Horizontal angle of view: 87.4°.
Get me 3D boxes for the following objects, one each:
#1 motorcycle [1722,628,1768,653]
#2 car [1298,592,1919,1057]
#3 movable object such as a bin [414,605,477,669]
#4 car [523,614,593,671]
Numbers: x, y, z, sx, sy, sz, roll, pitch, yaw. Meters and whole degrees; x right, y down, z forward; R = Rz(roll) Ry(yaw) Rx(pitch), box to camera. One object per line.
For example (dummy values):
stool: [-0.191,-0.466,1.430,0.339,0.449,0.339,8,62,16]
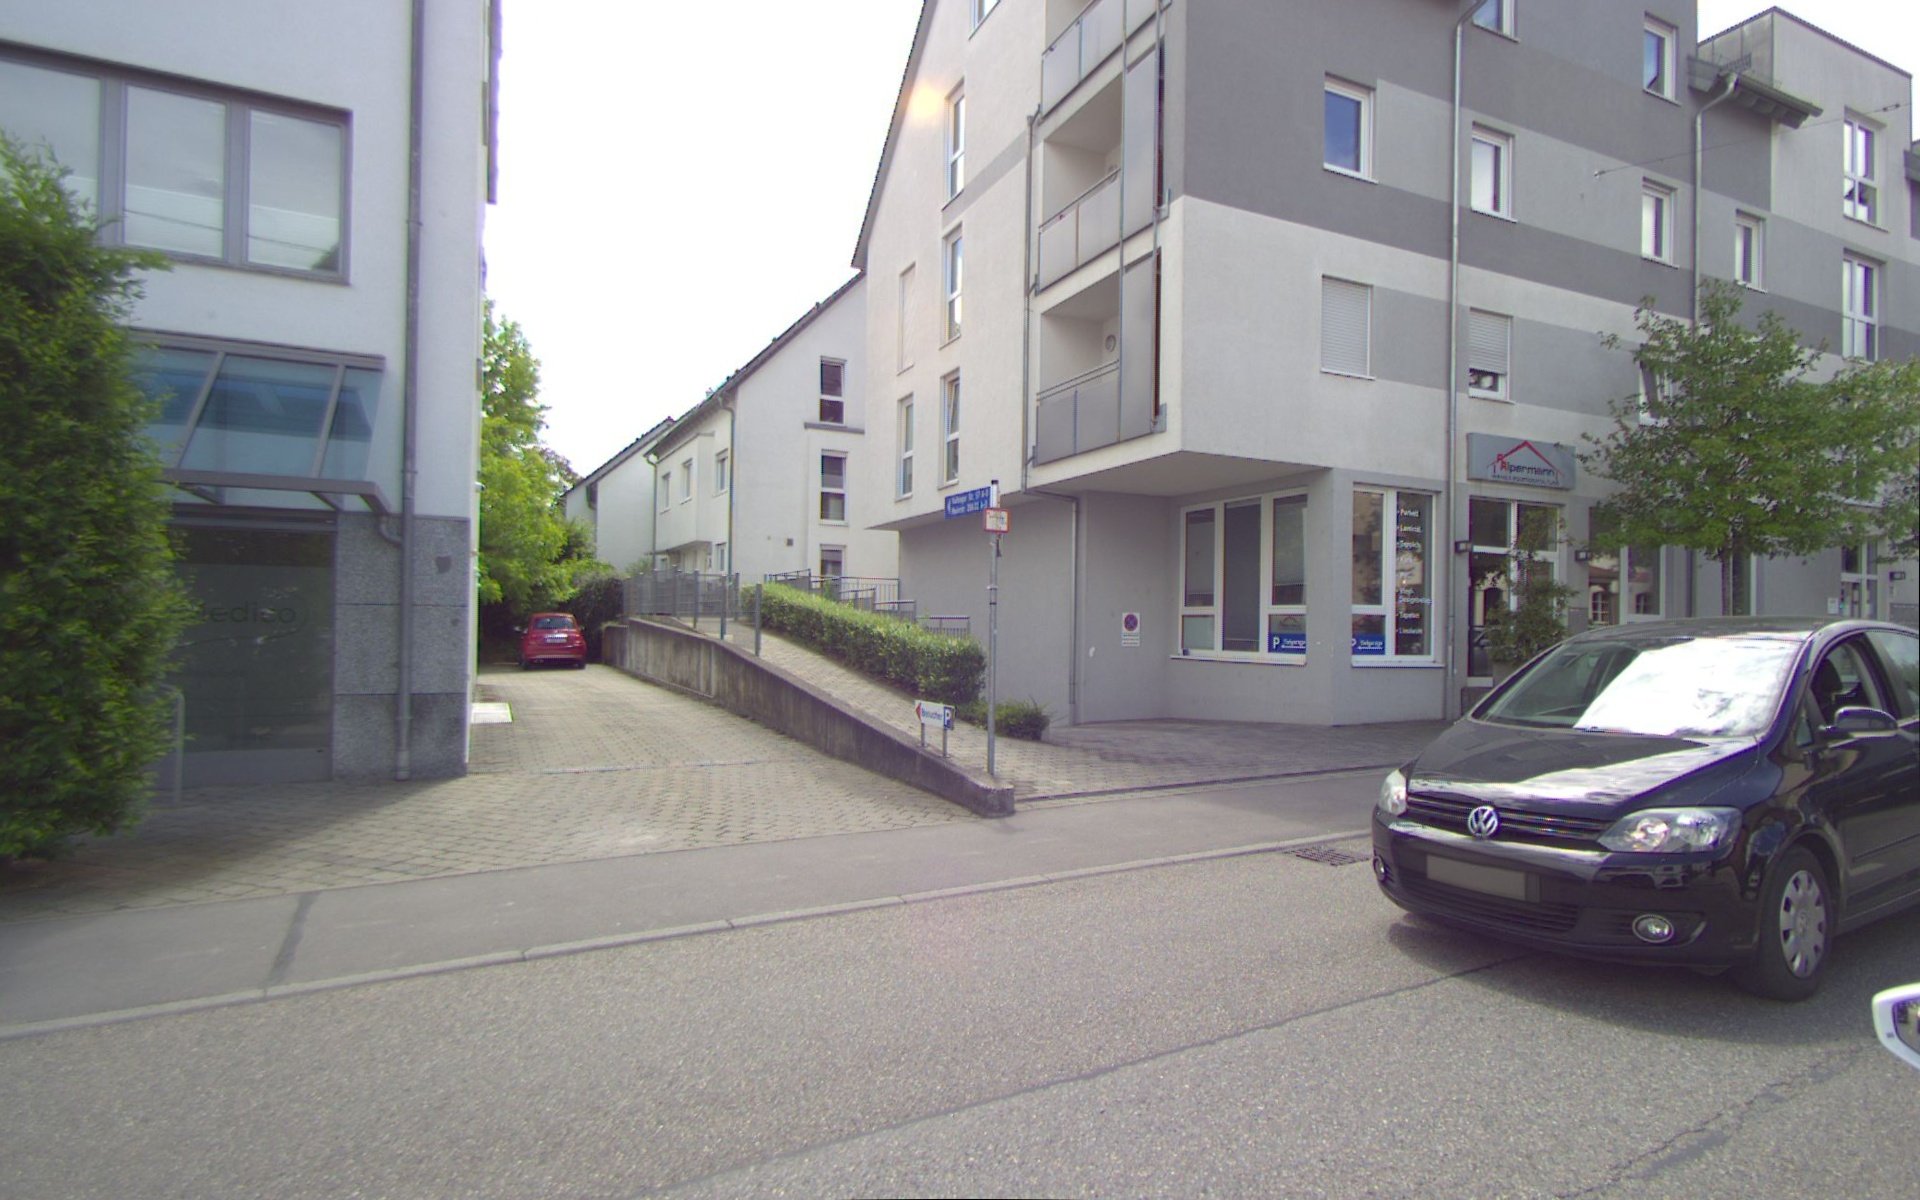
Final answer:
motorcycle: [34.307,1.751,43.887,2.320,1.018,1.191,1,0,-41]
car: [3.884,0.849,5.323,3.991,1.605,1.823,1,-3,-31]
movable object such as a bin: [-14.659,1.037,28.608,1.491,1.753,1.078,2,-1,-31]
car: [-11.443,1.173,28.516,1.695,1.461,3.977,1,-1,-23]
